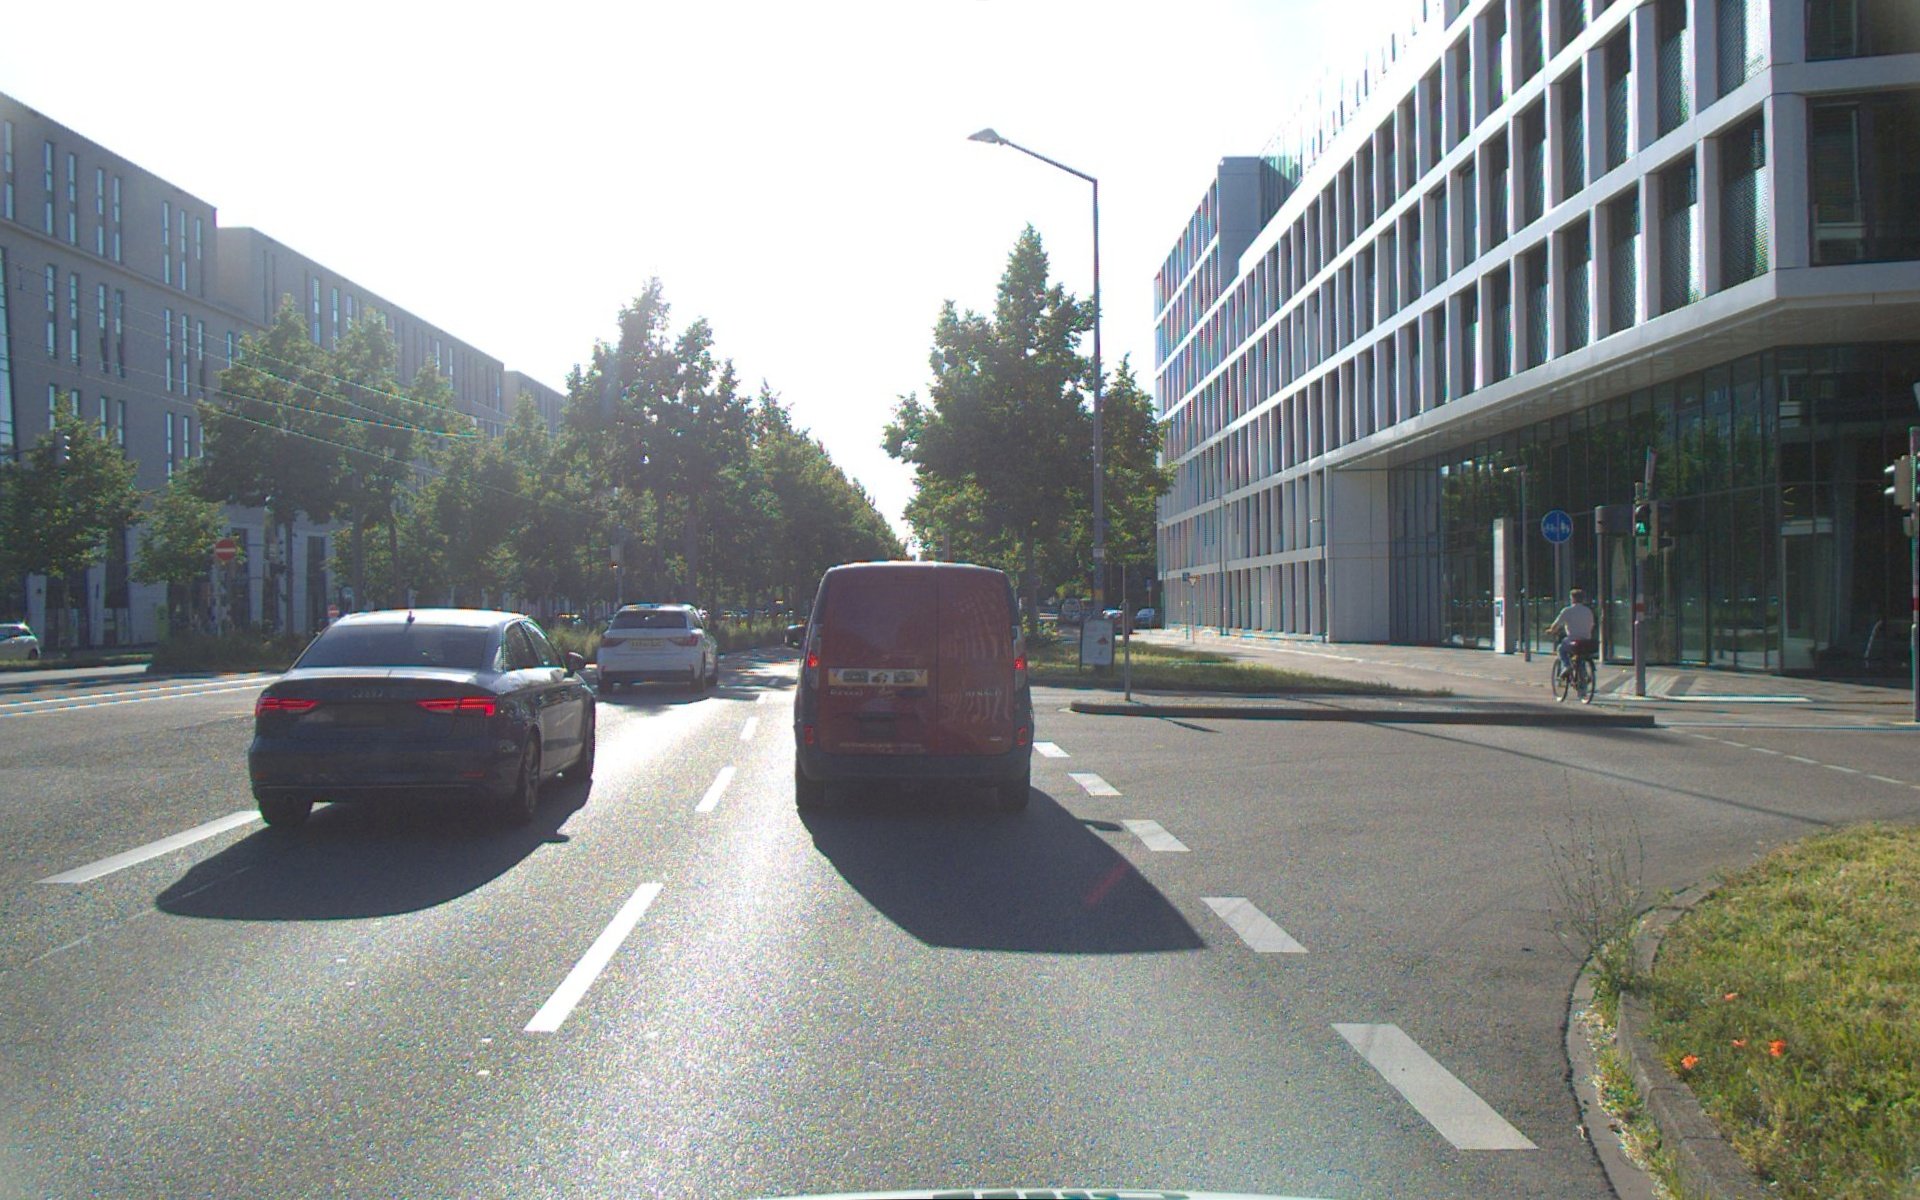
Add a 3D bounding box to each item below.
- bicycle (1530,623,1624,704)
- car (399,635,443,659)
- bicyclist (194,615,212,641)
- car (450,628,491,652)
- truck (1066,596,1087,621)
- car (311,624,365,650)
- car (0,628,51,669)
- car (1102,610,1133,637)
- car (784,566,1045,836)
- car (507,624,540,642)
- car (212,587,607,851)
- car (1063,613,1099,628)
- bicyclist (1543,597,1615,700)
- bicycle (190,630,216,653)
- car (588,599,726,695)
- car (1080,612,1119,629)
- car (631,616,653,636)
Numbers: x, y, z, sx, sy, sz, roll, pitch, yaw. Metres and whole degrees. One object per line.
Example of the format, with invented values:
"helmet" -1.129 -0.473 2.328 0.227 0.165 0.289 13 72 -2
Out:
"bicycle" 9.604 0.965 25.808 0.726 1.194 1.961 -1 0 0
"car" -33.547 2.909 102.967 1.548 1.366 3.711 -1 -1 -1
"bicyclist" -38.509 1.431 84.145 0.566 1.316 0.705 0 -1 1
"car" -34.165 2.784 115.510 1.740 1.555 3.805 -1 -1 -1
"truck" 12.466 0.923 177.674 1.794 2.545 5.931 0 -1 -1
"car" -33.838 1.990 90.097 1.548 1.366 3.711 -1 -1 -1
"car" -33.376 1.689 57.110 1.548 1.366 4.471 -1 -1 -1
"car" 10.151 1.506 106.782 1.721 1.640 3.904 -1 0 1
"car" -0.359 0.703 13.446 1.771 1.826 4.111 -1 0 -1
"car" -33.845 2.543 128.349 1.548 1.366 3.711 -1 -1 -1
"car" -3.750 0.723 12.025 1.772 1.554 4.109 -1 0 -5
"car" 11.525 1.941 157.552 3.326 1.382 1.472 -1 -1 6
"bicyclist" 9.609 0.740 25.695 0.755 1.558 0.849 -1 0 0
"bicycle" -38.520 2.104 84.124 0.517 1.130 1.638 0 -1 2
"car" -5.010 0.739 27.836 1.772 1.460 4.110 -1 0 -3
"car" 12.294 1.808 145.866 3.326 1.382 1.472 -1 -1 6
"car" -34.081 2.803 177.531 1.694 2.049 3.998 -1 0 -2
